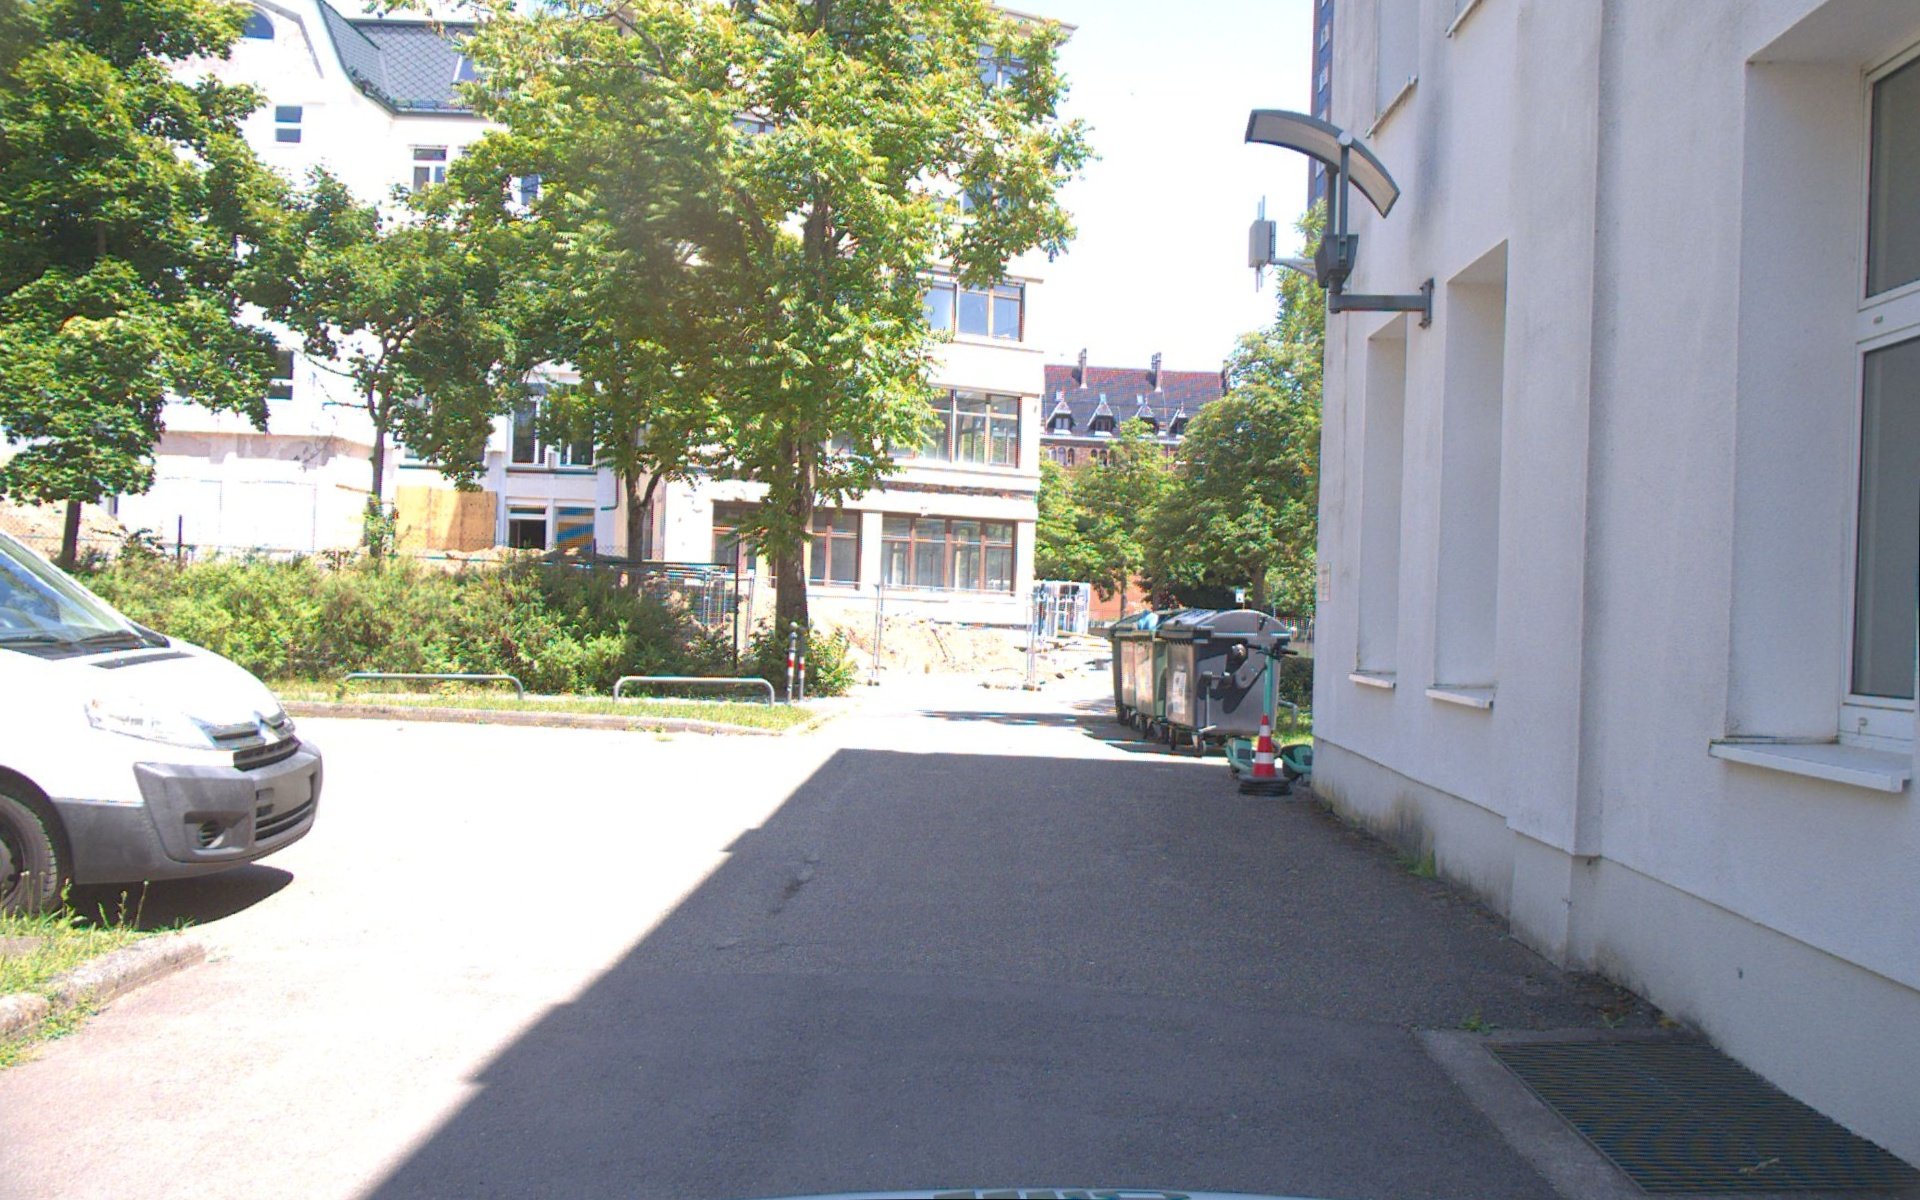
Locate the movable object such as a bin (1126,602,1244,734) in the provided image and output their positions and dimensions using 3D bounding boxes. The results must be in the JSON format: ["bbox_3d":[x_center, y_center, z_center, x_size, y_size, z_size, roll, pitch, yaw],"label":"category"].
[{"bbox_3d":[2.691,0.807,19.934,1.155,1.495,1.311,2,-2,-3],"label":"movable object such as a bin"}]

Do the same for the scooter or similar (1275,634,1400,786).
[{"bbox_3d":[3.154,0.899,13.912,0.456,1.194,1.250,2,-1,-16],"label":"scooter or similar"}]

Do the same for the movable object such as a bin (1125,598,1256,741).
[{"bbox_3d":[2.564,0.766,18.552,1.156,1.495,1.310,2,-2,-5],"label":"movable object such as a bin"}]

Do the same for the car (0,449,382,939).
[{"bbox_3d":[-5.316,0.330,7.471,4.694,1.944,1.999,1,0,-4],"label":"car"}]

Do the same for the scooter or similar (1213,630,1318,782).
[{"bbox_3d":[2.555,0.867,13.935,0.455,1.194,1.355,2,-1,-7],"label":"scooter or similar"}]

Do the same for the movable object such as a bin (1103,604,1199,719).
[{"bbox_3d":[2.660,0.849,22.916,1.154,1.495,1.334,2,-2,12],"label":"movable object such as a bin"}]

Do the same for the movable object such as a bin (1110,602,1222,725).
[{"bbox_3d":[2.647,0.807,21.377,1.156,1.495,1.310,2,-2,-4],"label":"movable object such as a bin"}]

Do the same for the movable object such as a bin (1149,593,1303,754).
[{"bbox_3d":[2.679,0.734,16.842,1.133,1.532,1.460,2,-2,-8],"label":"movable object such as a bin"}]
